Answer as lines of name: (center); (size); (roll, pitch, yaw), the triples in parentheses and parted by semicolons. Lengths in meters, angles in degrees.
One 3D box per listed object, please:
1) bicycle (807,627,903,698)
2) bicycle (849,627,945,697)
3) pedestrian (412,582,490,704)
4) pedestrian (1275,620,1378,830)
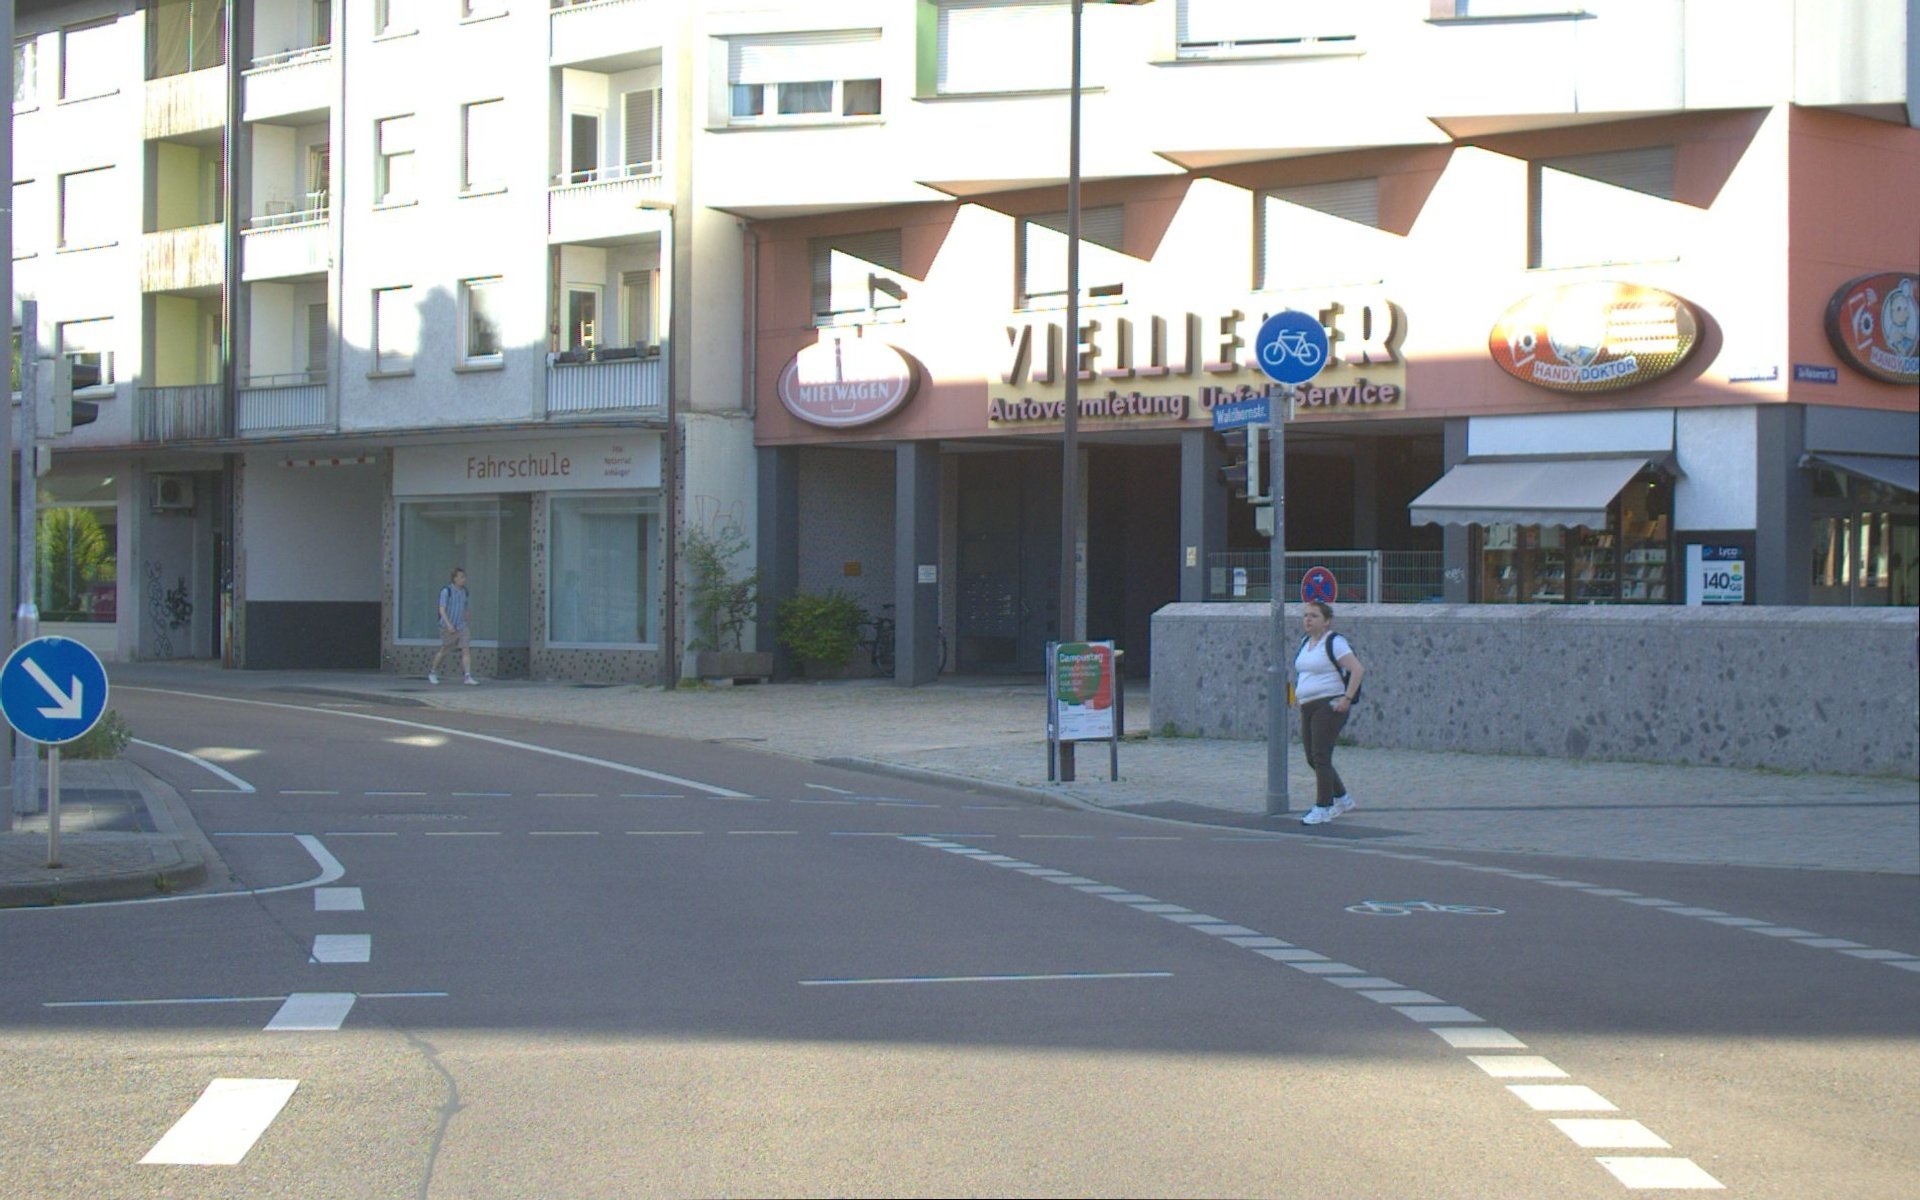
bicycle: (-1.604, 0.945, 52.188); (0.494, 1.035, 1.637); (1, 0, -43)
bicycle: (-0.977, 0.940, 52.847); (0.494, 1.035, 1.637); (1, 0, -43)
pedestrian: (-7.887, 0.665, 53.288); (0.731, 1.848, 0.947); (-2, 1, -44)
pedestrian: (2.809, 0.947, 26.369); (0.539, 1.578, 0.557); (1, 0, -41)
